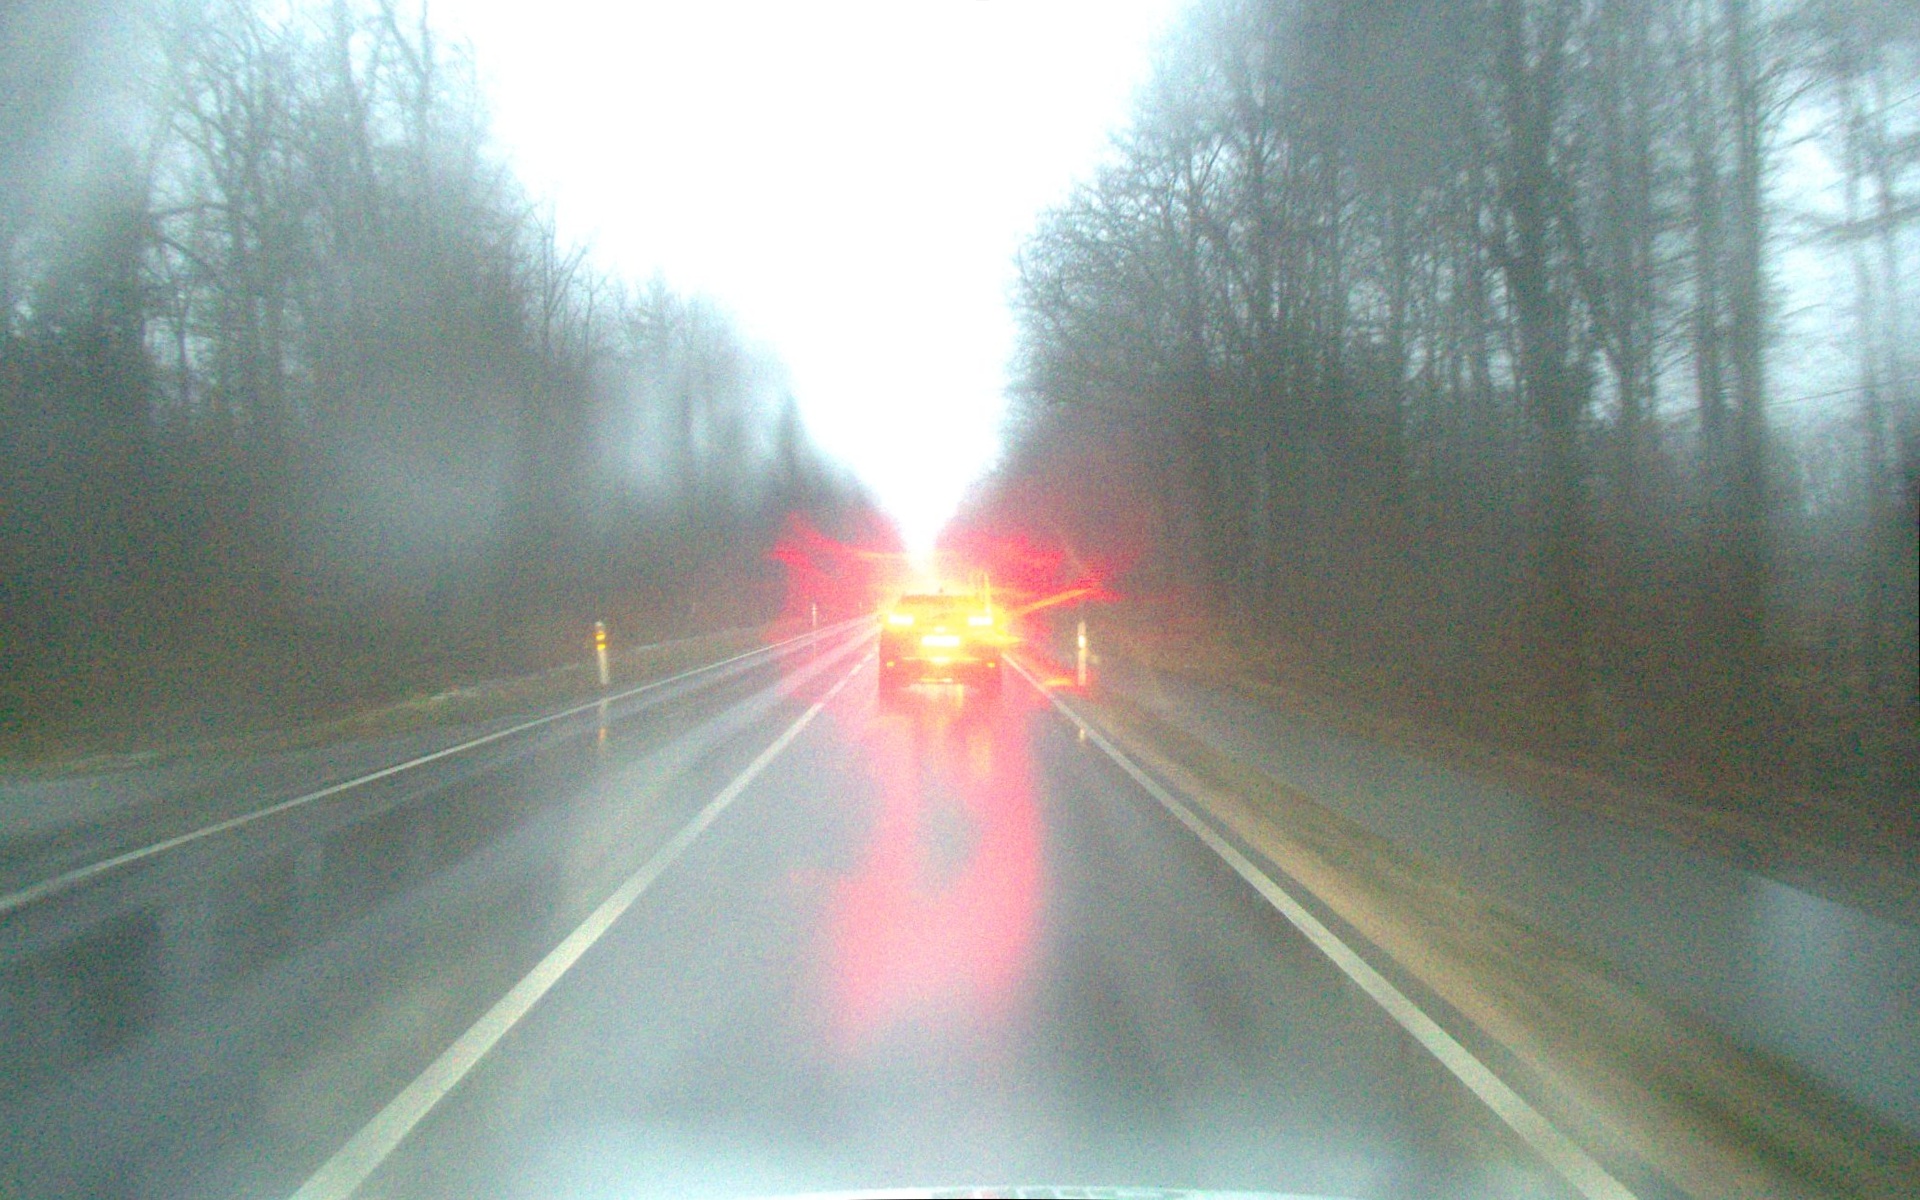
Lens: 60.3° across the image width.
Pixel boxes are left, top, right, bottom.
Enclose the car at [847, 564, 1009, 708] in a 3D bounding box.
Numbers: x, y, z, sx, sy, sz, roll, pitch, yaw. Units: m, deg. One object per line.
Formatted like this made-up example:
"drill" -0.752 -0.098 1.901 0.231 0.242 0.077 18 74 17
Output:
"car" -0.485 0.474 24.712 2.153 1.910 4.826 1 0 -1
